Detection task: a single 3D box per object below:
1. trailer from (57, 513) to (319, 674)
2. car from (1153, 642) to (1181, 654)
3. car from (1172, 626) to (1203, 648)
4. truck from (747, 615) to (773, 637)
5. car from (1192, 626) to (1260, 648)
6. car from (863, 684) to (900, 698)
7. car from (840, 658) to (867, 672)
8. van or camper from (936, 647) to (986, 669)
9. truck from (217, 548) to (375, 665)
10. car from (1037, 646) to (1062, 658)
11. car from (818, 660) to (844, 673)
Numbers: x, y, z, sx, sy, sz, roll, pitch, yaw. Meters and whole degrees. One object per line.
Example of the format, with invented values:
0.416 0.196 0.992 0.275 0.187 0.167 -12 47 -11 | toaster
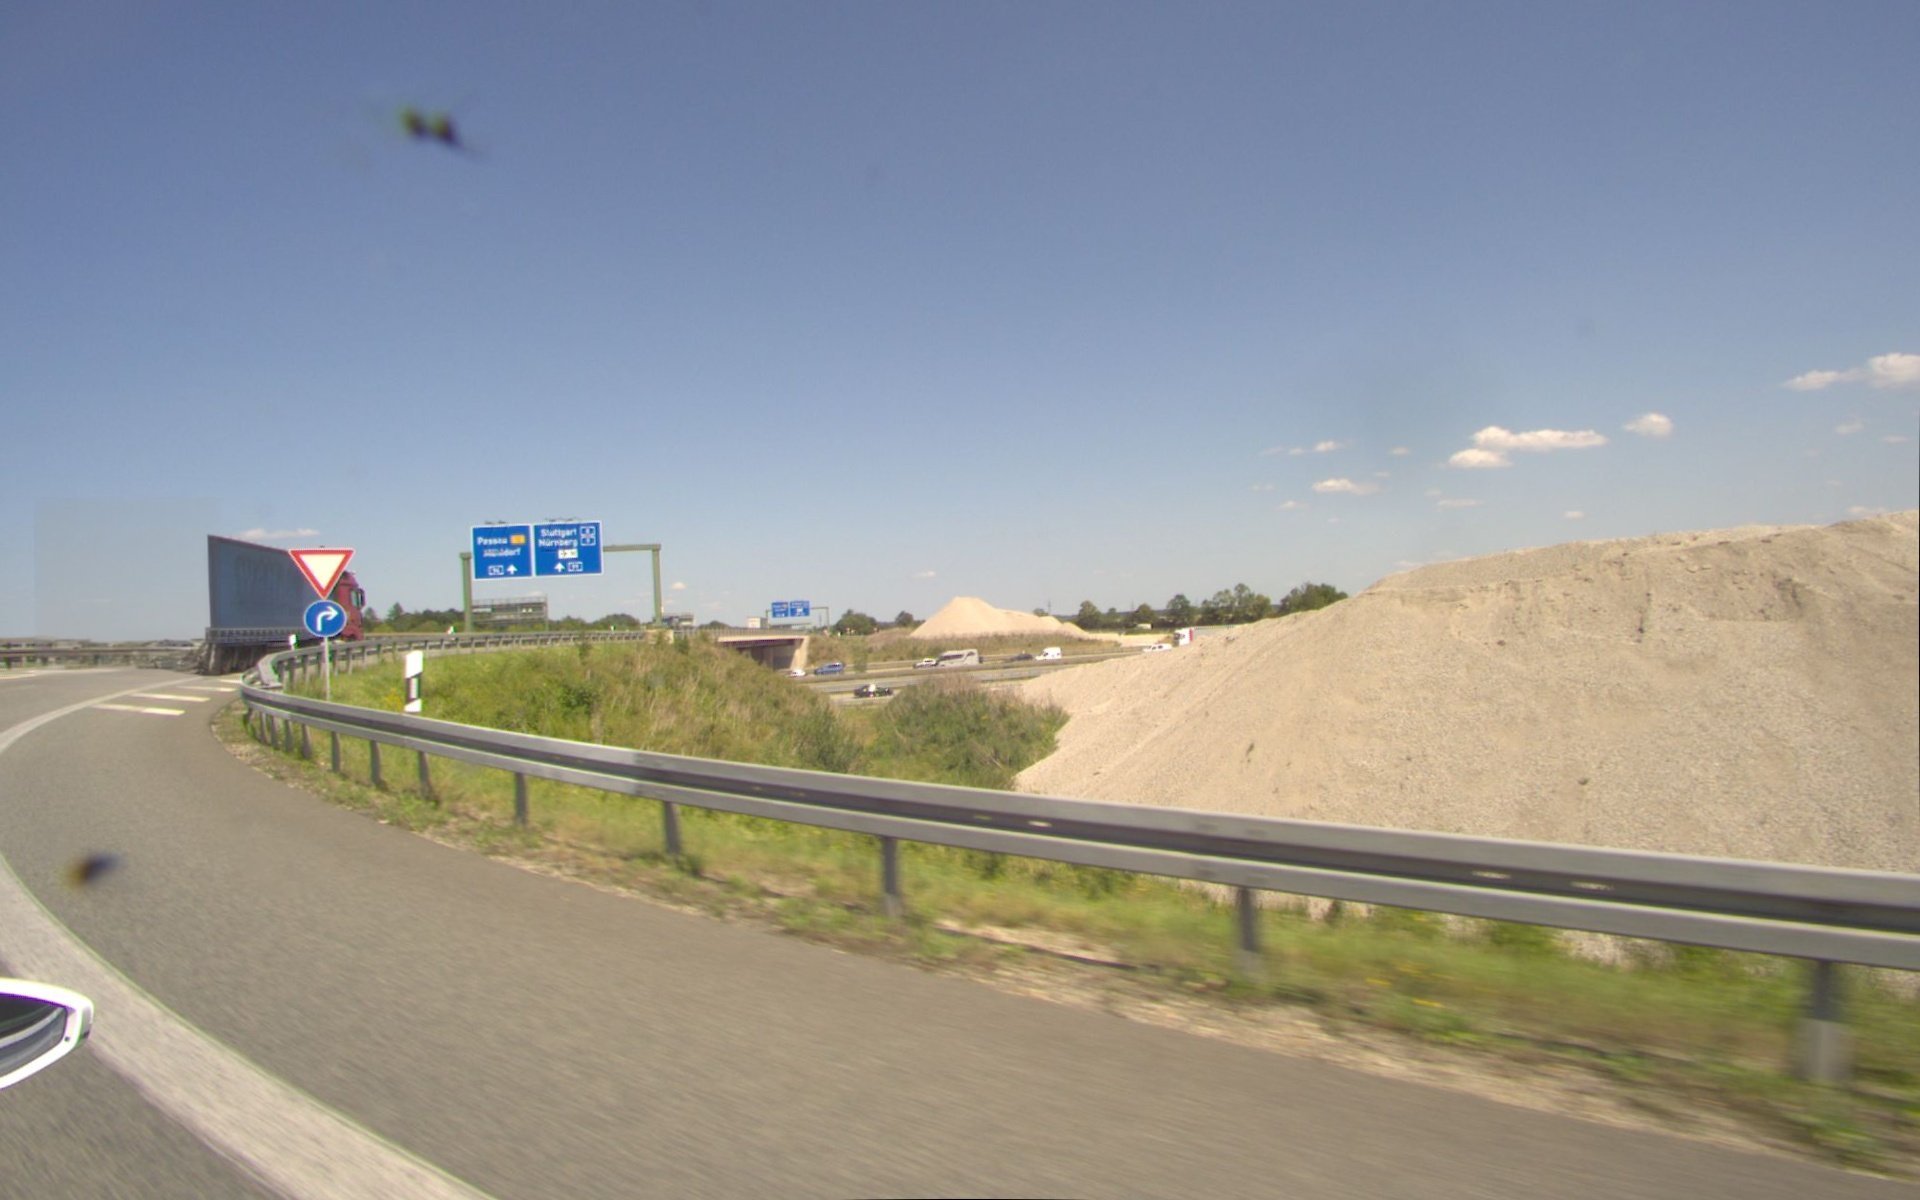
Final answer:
-23.771 0.100 31.825 2.871 4.197 11.243 0 -3 -17 | trailer
36.369 8.372 175.743 4.328 2.039 1.999 0 -2 -13 | car
42.208 6.951 185.977 5.065 4.014 2.481 0 -2 -13 | car
-40.040 5.279 200.888 3.482 4.197 11.263 1 -3 -4 | truck
49.935 6.939 187.857 12.774 4.014 2.481 0 -2 -14 | car
-9.308 10.808 119.008 3.932 1.593 1.996 2 -2 -20 | car
-16.365 9.988 153.804 3.930 2.036 1.877 0 -6 -18 | car
0.156 9.851 169.805 8.009 3.030 2.986 -3 -4 -13 | van or camper
-25.965 0.386 39.587 2.868 4.197 6.923 0 -2 -12 | truck
15.163 8.839 169.910 3.925 2.039 1.803 0 -1 -11 | car
-21.518 11.095 167.026 3.930 2.036 2.000 0 -6 -18 | car
